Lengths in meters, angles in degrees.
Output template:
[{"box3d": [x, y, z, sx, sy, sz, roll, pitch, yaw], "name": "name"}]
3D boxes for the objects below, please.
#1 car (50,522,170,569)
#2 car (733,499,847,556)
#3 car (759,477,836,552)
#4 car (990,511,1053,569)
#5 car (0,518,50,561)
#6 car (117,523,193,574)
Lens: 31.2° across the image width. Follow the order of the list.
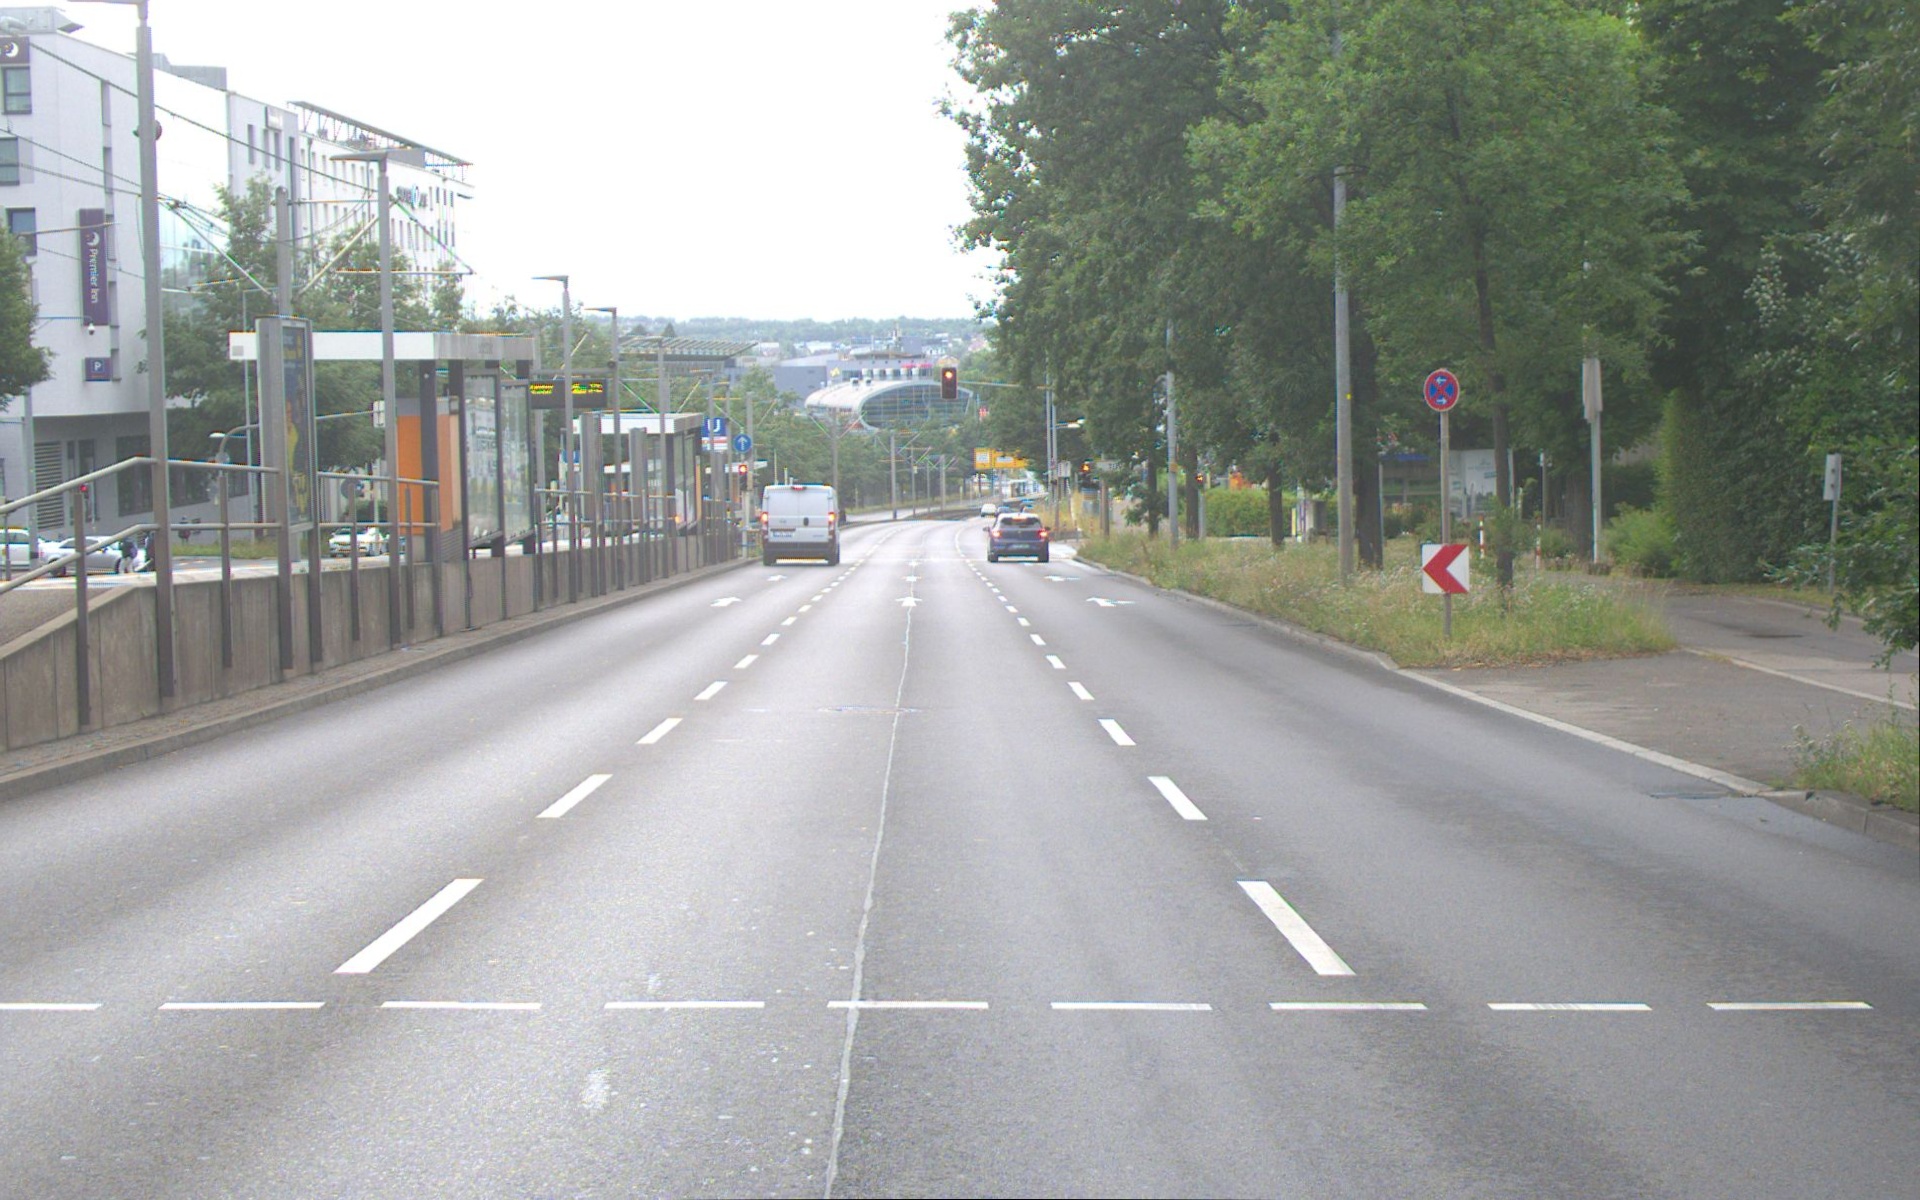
[{"box3d": [-28.708, -1.833, 116.099, 3.874, 1.431, 1.653, -2, 2, 32], "name": "car"}, {"box3d": [-6.104, -2.614, 123.167, 3.986, 2.007, 1.760, 0, 1, -6], "name": "car"}, {"box3d": [-4.556, -2.400, 96.783, 2.093, 2.046, 4.607, 0, 1, -2], "name": "car"}, {"box3d": [1.822, -1.812, 103.000, 1.774, 1.685, 3.846, 0, 1, -1], "name": "car"}, {"box3d": [-34.375, -2.092, 121.812, 4.087, 1.431, 1.656, -3, 1, -15], "name": "car"}, {"box3d": [-24.042, -1.544, 102.777, 1.650, 1.431, 3.881, -3, 1, -6], "name": "car"}]
